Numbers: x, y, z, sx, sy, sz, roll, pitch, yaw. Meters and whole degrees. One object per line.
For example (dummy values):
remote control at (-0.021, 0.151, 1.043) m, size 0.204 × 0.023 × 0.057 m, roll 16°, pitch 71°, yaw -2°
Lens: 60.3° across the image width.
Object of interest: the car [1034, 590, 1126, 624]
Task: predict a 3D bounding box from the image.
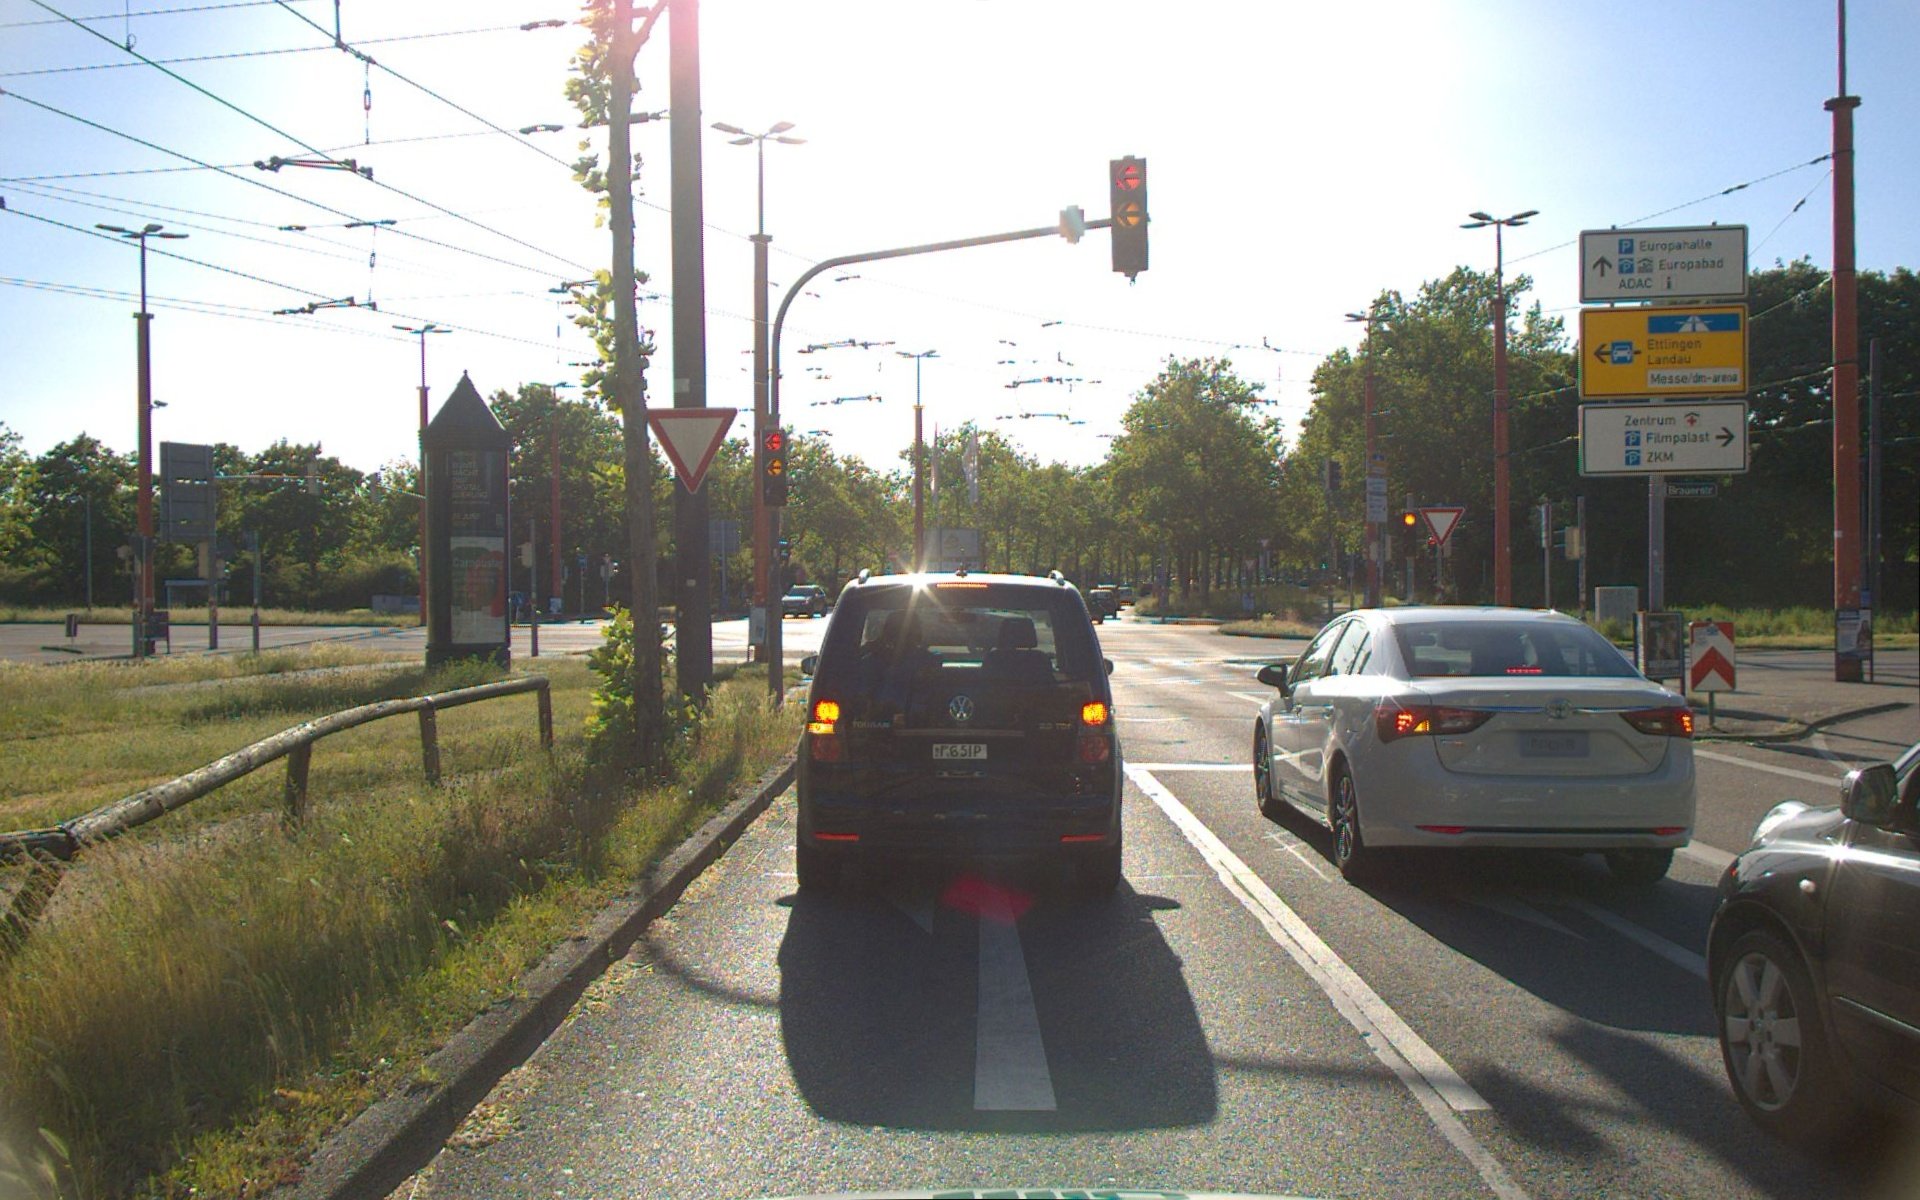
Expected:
car at (5.280, 0.287, 72.566) m, size 4.015 × 1.412 × 1.768 m, roll 0°, pitch 1°, yaw -42°

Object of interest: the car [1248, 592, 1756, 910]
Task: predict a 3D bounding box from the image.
car at (2.976, 0.715, 10.108) m, size 1.731 × 1.489 × 4.367 m, roll 0°, pitch 1°, yaw 1°

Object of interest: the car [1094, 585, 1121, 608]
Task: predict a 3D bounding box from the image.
car at (10.320, -0.247, 116.088) m, size 1.752 × 1.528 × 4.051 m, roll 1°, pitch 1°, yaw 3°

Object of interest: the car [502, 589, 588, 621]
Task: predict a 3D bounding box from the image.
car at (-24.238, 0.270, 96.569) m, size 4.585 × 1.756 × 1.891 m, roll -1°, pitch 1°, yaw -28°

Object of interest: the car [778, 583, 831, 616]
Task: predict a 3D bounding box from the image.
car at (-8.756, -0.050, 93.576) m, size 1.861 × 1.756 × 4.658 m, roll 0°, pitch 1°, yaw 10°

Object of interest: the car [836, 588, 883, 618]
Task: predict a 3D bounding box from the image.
car at (-5.516, 0.150, 91.361) m, size 1.730 × 1.565 × 4.095 m, roll 0°, pitch 1°, yaw 9°

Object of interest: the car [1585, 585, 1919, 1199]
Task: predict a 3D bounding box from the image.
car at (3.204, 0.723, 3.877) m, size 1.699 × 1.508 × 4.622 m, roll 0°, pitch 1°, yaw -1°

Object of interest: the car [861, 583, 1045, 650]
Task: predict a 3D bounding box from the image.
car at (-0.191, 0.434, 44.889) m, size 4.584 × 1.734 × 1.999 m, roll 0°, pitch 0°, yaw 25°

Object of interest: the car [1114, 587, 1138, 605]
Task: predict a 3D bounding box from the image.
car at (13.403, -0.330, 133.879) m, size 1.752 × 1.412 × 4.052 m, roll 1°, pitch 1°, yaw 3°

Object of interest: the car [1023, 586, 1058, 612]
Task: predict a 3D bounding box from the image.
car at (4.668, -0.095, 95.792) m, size 1.752 × 1.412 × 4.053 m, roll 1°, pitch 1°, yaw 7°

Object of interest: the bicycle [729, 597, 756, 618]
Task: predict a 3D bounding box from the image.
bicycle at (-12.341, 0.431, 94.061) m, size 0.747 × 1.110 × 2.017 m, roll -1°, pitch 1°, yaw 16°

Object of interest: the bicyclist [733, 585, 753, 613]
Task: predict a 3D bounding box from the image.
bicyclist at (-12.333, -0.068, 94.134) m, size 0.743 × 1.585 × 0.982 m, roll -1°, pitch 1°, yaw 17°

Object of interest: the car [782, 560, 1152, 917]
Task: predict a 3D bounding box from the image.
car at (0.018, 0.624, 10.245) m, size 1.731 × 1.672 × 4.923 m, roll 0°, pitch 1°, yaw 0°

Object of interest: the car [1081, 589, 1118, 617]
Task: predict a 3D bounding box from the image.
car at (7.398, 0.128, 88.139) m, size 1.752 × 1.412 × 4.051 m, roll 1°, pitch 1°, yaw 2°
